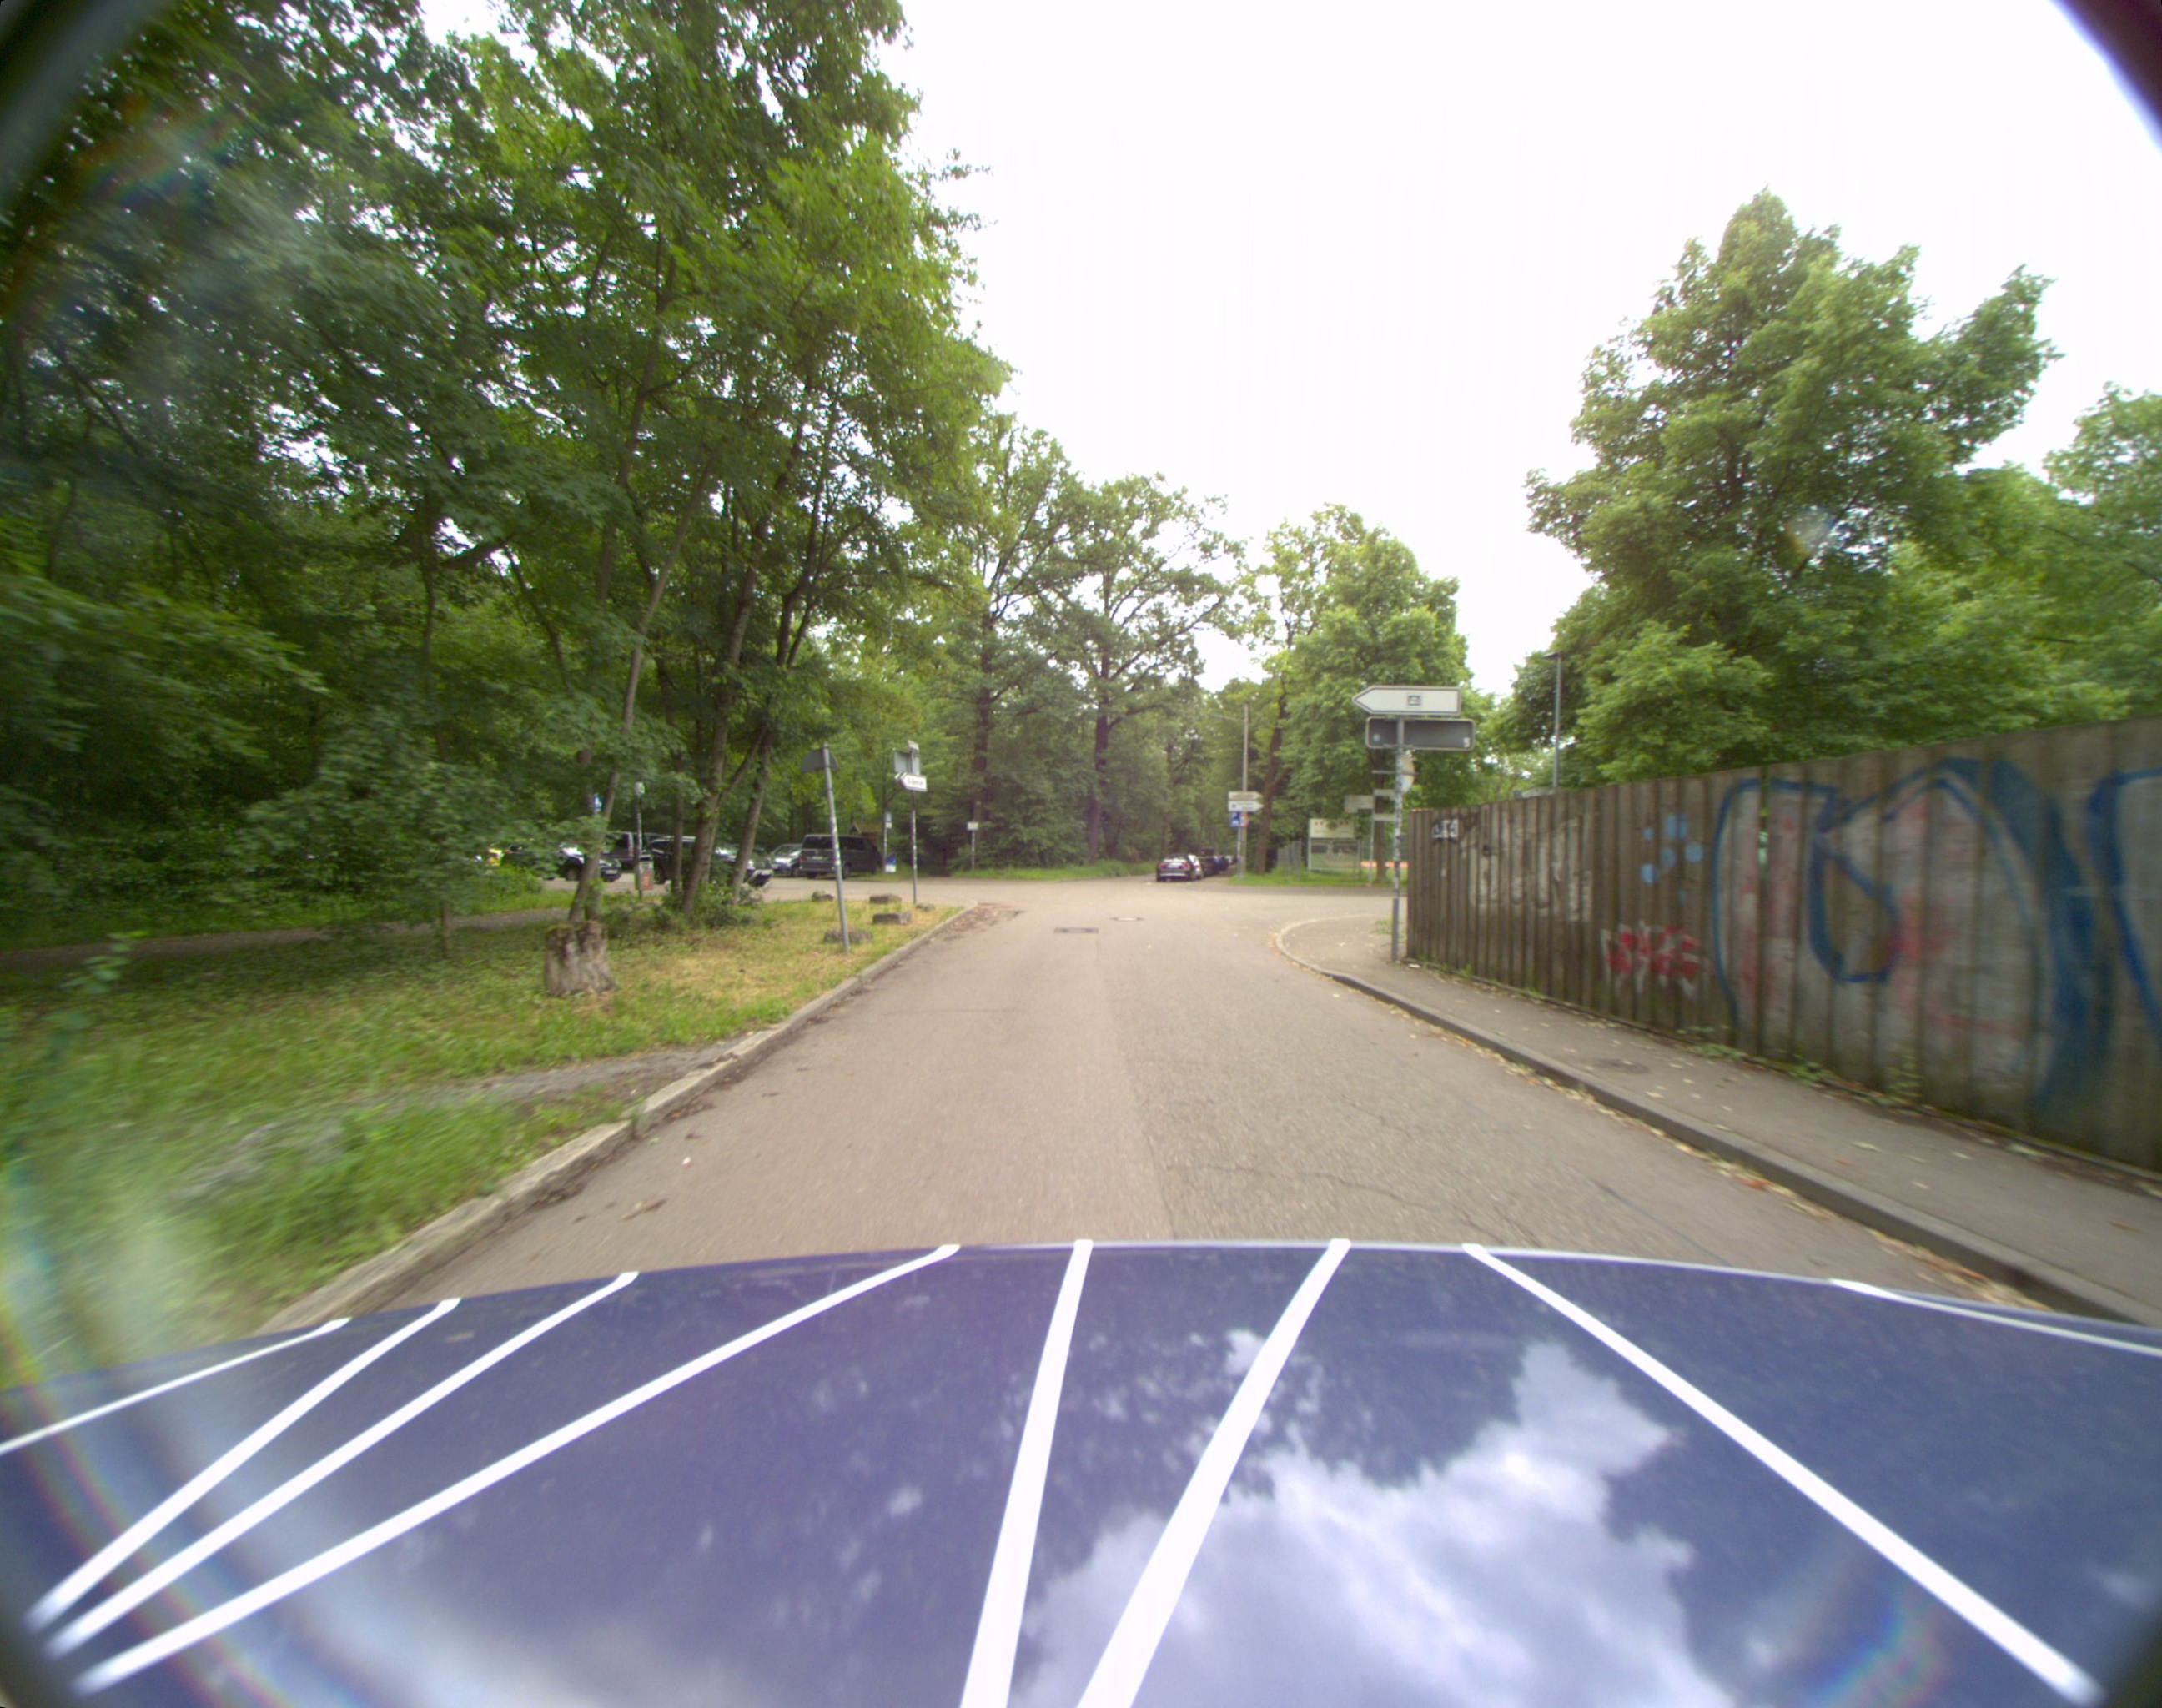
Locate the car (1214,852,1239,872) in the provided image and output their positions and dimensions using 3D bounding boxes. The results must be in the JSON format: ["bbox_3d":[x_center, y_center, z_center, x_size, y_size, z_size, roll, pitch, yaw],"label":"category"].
[{"bbox_3d":[13.232,0.701,69.236,1.956,1.609,3.641,2,1,8],"label":"car"}]

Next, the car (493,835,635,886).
[{"bbox_3d":[-18.113,0.208,26.695,3.992,1.624,1.817,1,1,10],"label":"car"}]

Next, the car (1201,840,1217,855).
[{"bbox_3d":[21.724,-1.093,128.711,2.577,2.520,4.939,0,1,10],"label":"car"}]

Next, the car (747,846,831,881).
[{"bbox_3d":[-13.408,0.395,35.115,1.806,1.504,3.831,1,0,12],"label":"car"}]

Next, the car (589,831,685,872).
[{"bbox_3d":[-21.007,-0.135,36.114,1.810,1.851,4.003,1,1,9],"label":"car"}]

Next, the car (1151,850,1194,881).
[{"bbox_3d":[4.648,0.584,38.219,1.769,1.485,4.331,0,-1,12],"label":"car"}]

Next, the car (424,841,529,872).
[{"bbox_3d":[-30.235,0.073,38.169,1.731,1.430,4.002,1,2,9],"label":"car"}]

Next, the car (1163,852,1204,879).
[{"bbox_3d":[5.861,0.662,43.022,1.997,1.411,4.004,0,-1,12],"label":"car"}]

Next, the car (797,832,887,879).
[{"bbox_3d":[-10.699,0.052,34.420,1.887,1.966,4.521,1,0,12],"label":"car"}]

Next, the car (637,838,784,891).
[{"bbox_3d":[-12.333,0.312,25.401,4.093,1.624,1.817,1,1,10],"label":"car"}]
